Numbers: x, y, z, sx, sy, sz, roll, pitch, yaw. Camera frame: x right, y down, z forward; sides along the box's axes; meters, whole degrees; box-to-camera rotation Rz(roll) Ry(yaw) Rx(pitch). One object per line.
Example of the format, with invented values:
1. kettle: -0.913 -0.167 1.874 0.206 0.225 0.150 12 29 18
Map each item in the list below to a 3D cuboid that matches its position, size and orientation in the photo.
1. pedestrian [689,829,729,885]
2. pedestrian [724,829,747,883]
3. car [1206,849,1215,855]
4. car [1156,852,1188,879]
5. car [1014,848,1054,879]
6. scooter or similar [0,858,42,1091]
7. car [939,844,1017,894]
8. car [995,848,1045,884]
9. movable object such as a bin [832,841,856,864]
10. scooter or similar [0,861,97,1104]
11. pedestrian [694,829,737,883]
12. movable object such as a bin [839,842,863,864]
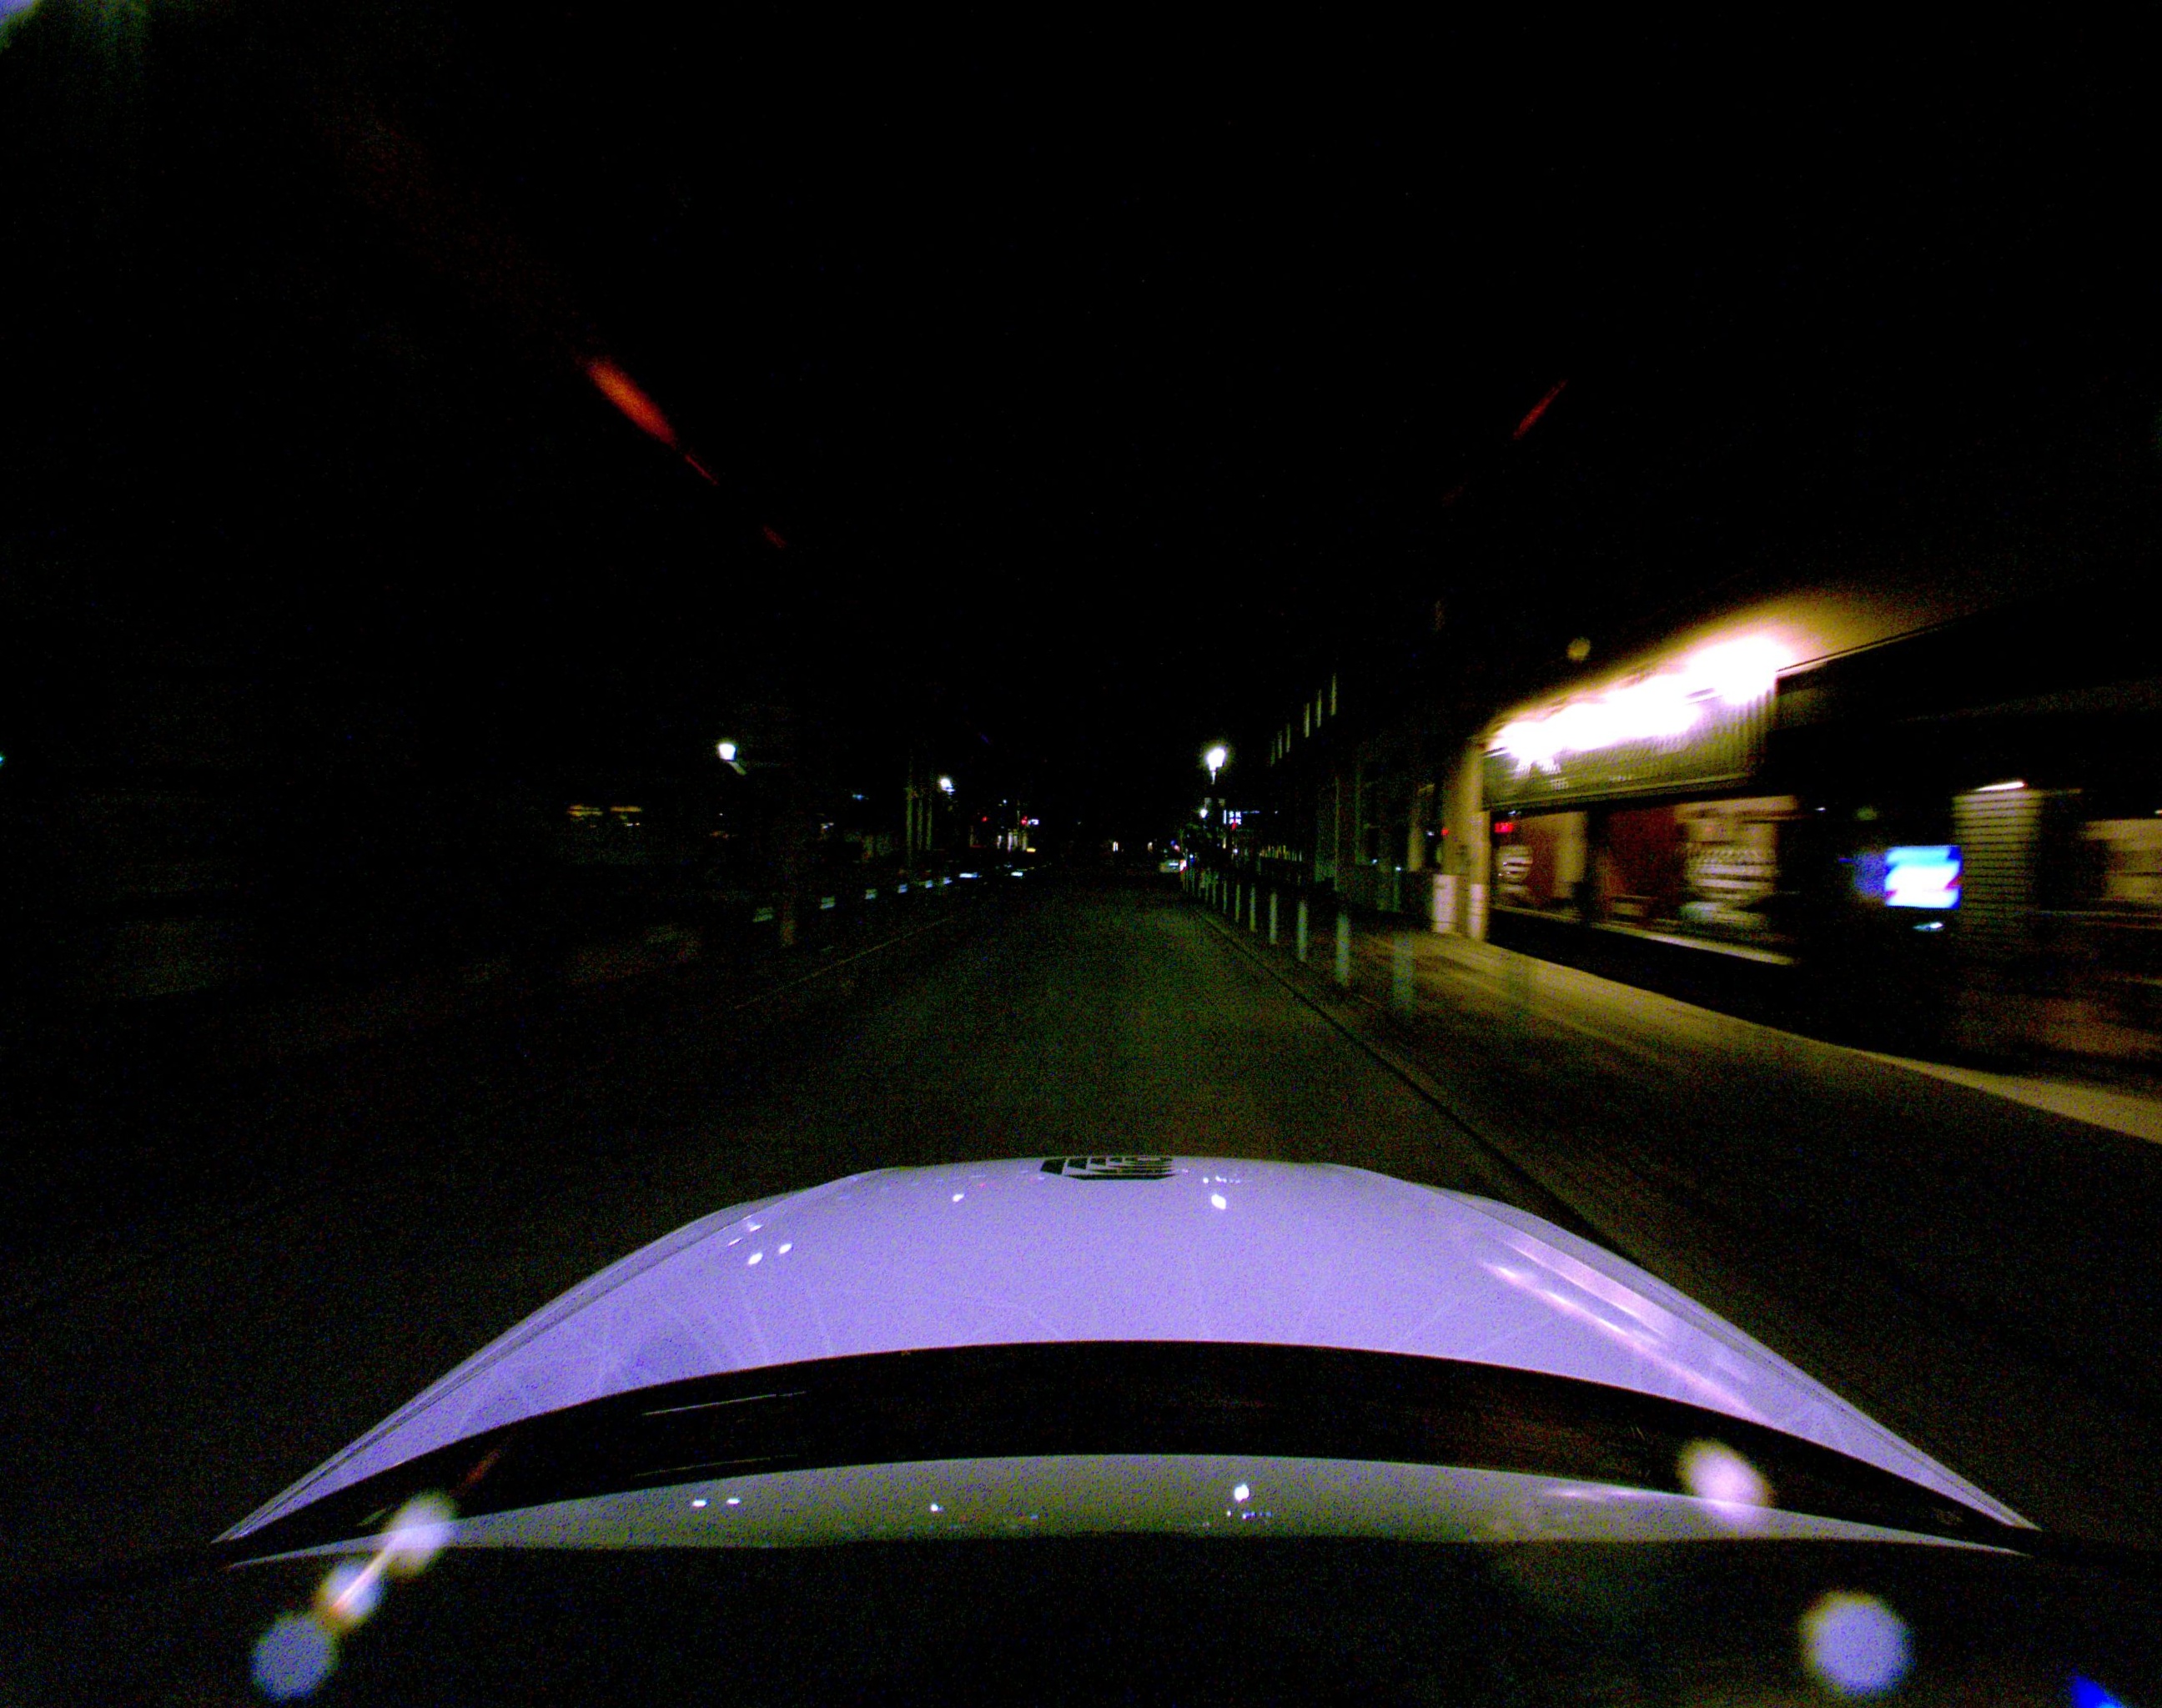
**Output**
1. pedestrian: -12.515 0.092 27.400 0.870 1.831 0.795 2 0 29
2. pedestrian: -11.798 0.080 27.806 0.496 1.822 0.506 0 -1 28
3. car: 33.017 -0.602 207.314 1.900 1.370 4.476 0 1 16
4. car: 5.348 0.663 47.995 1.733 1.487 4.643 1 -1 6
5. car: -2.588 0.493 45.838 1.752 1.637 4.818 1 0 2
6. scooter or similar: -6.213 0.684 3.986 0.315 1.288 1.450 2 1 4
7. car: -3.506 0.490 28.563 1.763 1.574 4.489 2 0 5
8. car: -2.839 0.541 39.047 1.898 1.541 4.783 2 0 1
9. movable object such as a bin: -15.517 -0.101 53.320 1.031 1.444 1.288 2 -1 5
10. scooter or similar: -5.912 0.692 3.976 0.367 1.264 1.450 2 1 4
11. pedestrian: -12.702 0.073 28.297 0.785 1.817 1.029 2 0 23
12. movable object such as a bin: -15.424 -0.058 54.622 1.126 1.457 1.229 2 -1 5
